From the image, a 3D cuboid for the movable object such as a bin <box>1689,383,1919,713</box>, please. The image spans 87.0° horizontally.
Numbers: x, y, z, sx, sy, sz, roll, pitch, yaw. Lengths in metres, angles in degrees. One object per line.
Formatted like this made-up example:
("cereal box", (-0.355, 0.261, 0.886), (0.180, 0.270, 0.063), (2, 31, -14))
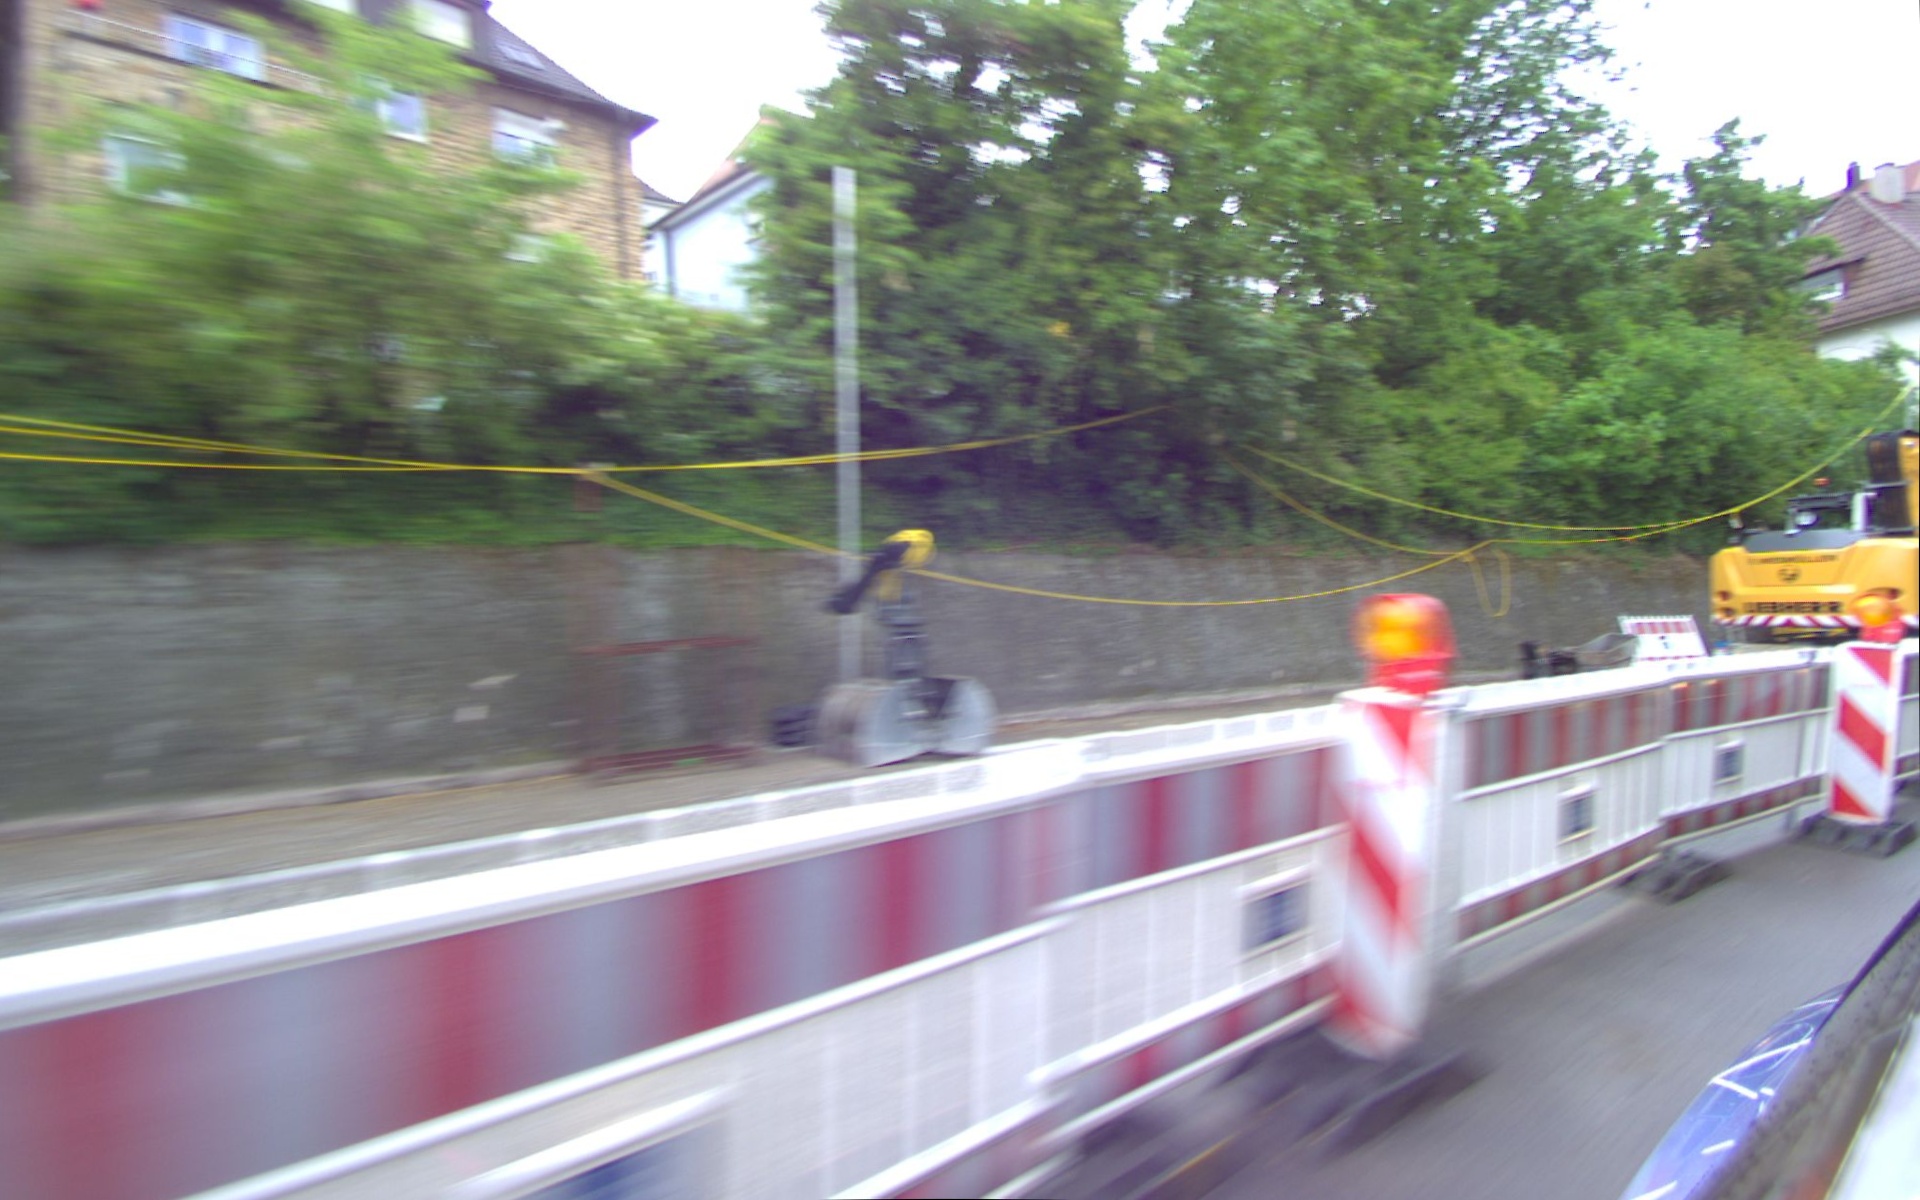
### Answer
("movable object such as a bin", (14.635, -0.691, 14.988), (7.173, 4.064, 2.835), (0, 1, -22))
